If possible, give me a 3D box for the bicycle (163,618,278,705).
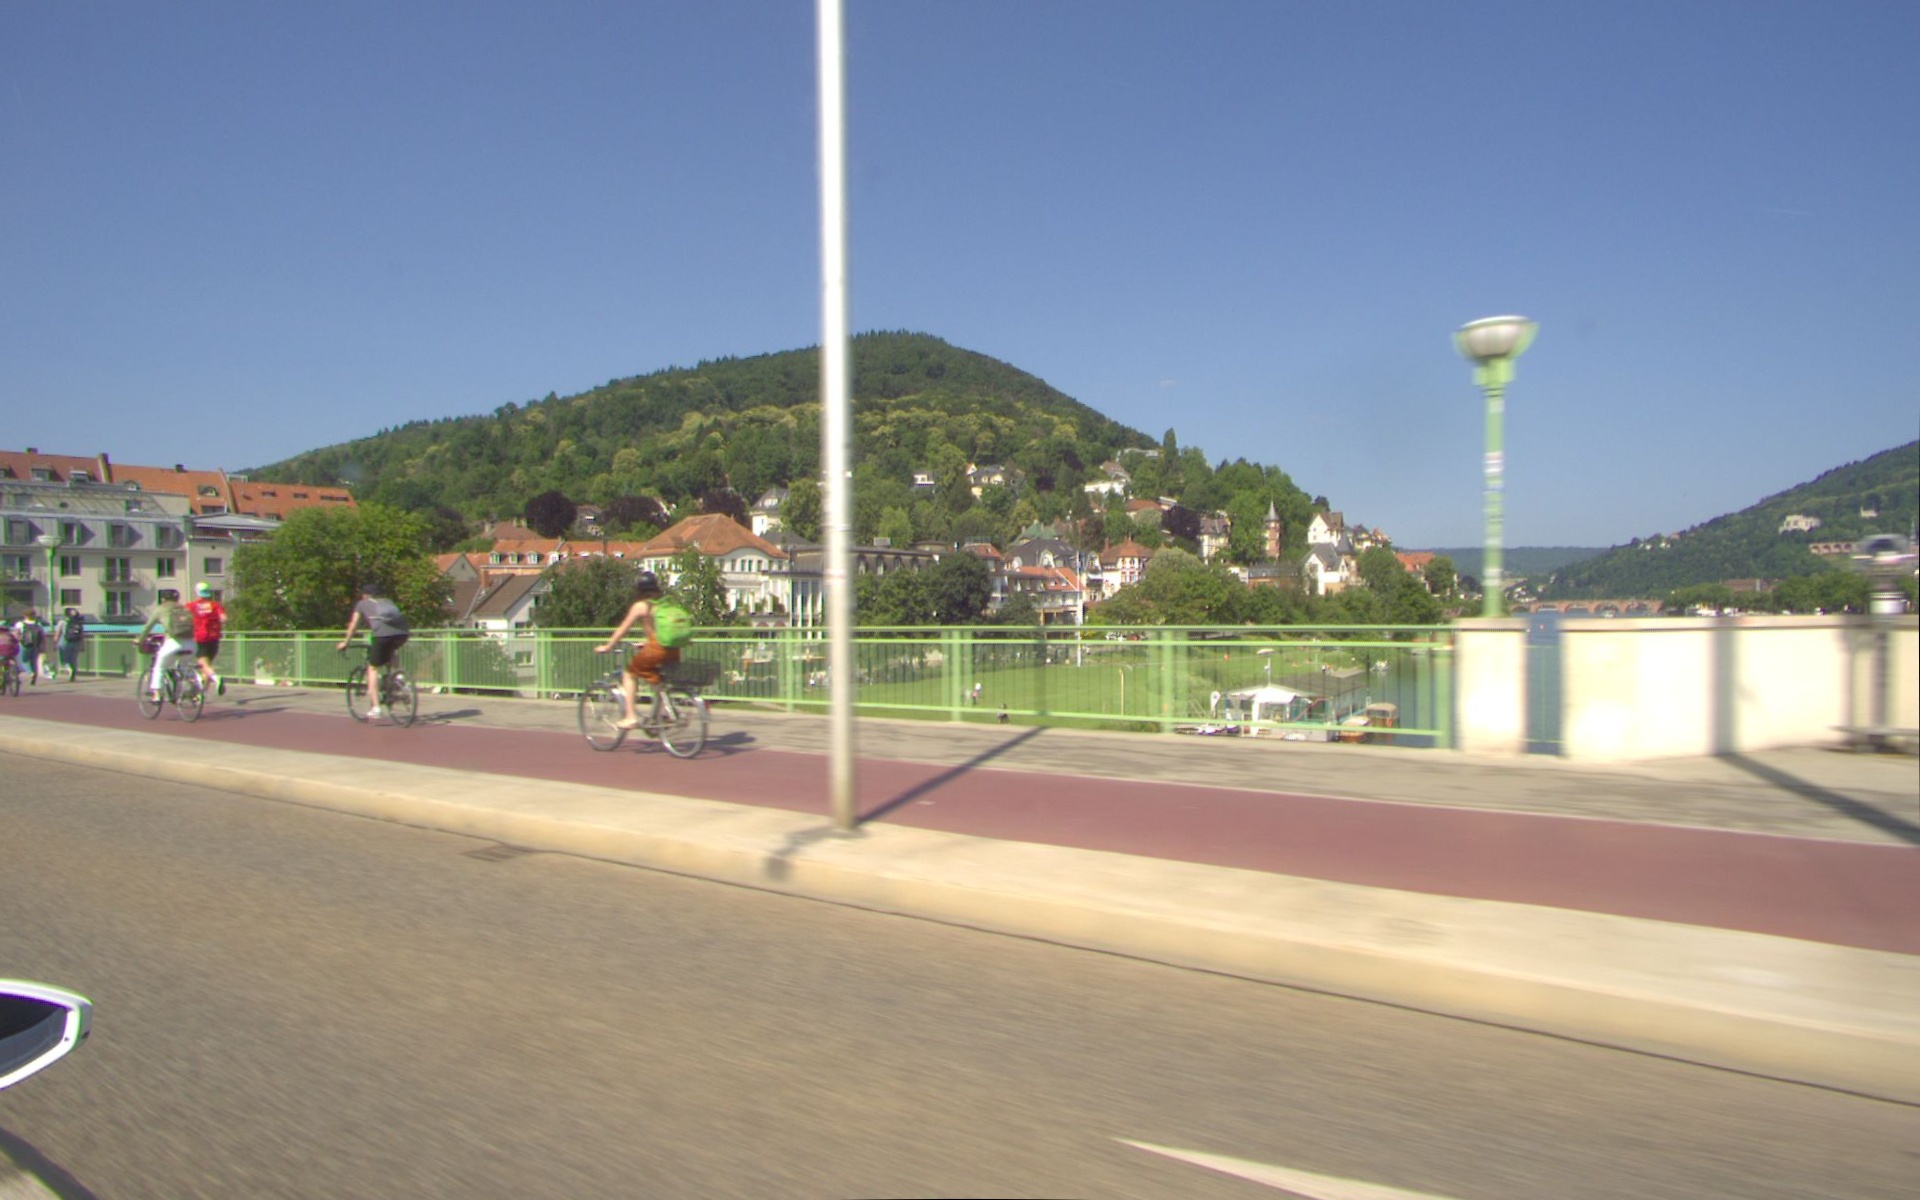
[{"bbox_3d":[-11.683,0.938,15.793,2.183,1.288,0.617,-1,1,31],"label":"bicycle"}]

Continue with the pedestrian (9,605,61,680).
[{"bbox_3d":[-20.101,0.911,21.754,0.854,1.607,0.598,0,1,30],"label":"pedestrian"}]

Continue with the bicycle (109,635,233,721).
[{"bbox_3d":[-10.651,1.019,13.492,2.020,1.051,0.617,0,0,31],"label":"bicycle"}]

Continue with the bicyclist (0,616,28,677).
[{"bbox_3d":[-17.791,0.857,18.622,0.842,1.116,0.596,0,0,42],"label":"bicyclist"}]

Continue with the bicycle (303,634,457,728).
[{"bbox_3d":[-7.157,0.957,12.320,2.232,1.051,0.617,0,0,31],"label":"bicycle"}]

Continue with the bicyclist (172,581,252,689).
[{"bbox_3d":[-11.854,0.537,15.869,0.854,1.657,0.734,0,0,30],"label":"bicyclist"}]

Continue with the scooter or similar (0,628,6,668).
[{"bbox_3d":[-26.021,1.284,26.731,0.852,1.083,0.587,0,0,30],"label":"scooter or similar"}]

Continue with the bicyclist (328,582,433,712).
[{"bbox_3d":[-7.104,0.556,12.277,0.966,1.520,0.734,0,0,30],"label":"bicyclist"}]

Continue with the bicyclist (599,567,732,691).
[{"bbox_3d":[-2.660,0.251,9.060,0.965,1.058,0.666,0,0,27],"label":"bicyclist"}]

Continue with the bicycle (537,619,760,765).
[{"bbox_3d":[-2.877,0.795,9.184,2.047,1.209,0.694,-1,1,28],"label":"bicycle"}]

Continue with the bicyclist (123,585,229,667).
[{"bbox_3d":[-10.458,0.336,13.359,1.158,1.044,0.734,0,0,30],"label":"bicyclist"}]

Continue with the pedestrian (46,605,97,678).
[{"bbox_3d":[-19.740,0.907,22.256,0.854,1.607,0.598,0,1,30],"label":"pedestrian"}]

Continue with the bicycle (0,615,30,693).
[{"bbox_3d":[-17.707,0.967,18.539,2.191,1.385,0.531,0,0,42],"label":"bicycle"}]
